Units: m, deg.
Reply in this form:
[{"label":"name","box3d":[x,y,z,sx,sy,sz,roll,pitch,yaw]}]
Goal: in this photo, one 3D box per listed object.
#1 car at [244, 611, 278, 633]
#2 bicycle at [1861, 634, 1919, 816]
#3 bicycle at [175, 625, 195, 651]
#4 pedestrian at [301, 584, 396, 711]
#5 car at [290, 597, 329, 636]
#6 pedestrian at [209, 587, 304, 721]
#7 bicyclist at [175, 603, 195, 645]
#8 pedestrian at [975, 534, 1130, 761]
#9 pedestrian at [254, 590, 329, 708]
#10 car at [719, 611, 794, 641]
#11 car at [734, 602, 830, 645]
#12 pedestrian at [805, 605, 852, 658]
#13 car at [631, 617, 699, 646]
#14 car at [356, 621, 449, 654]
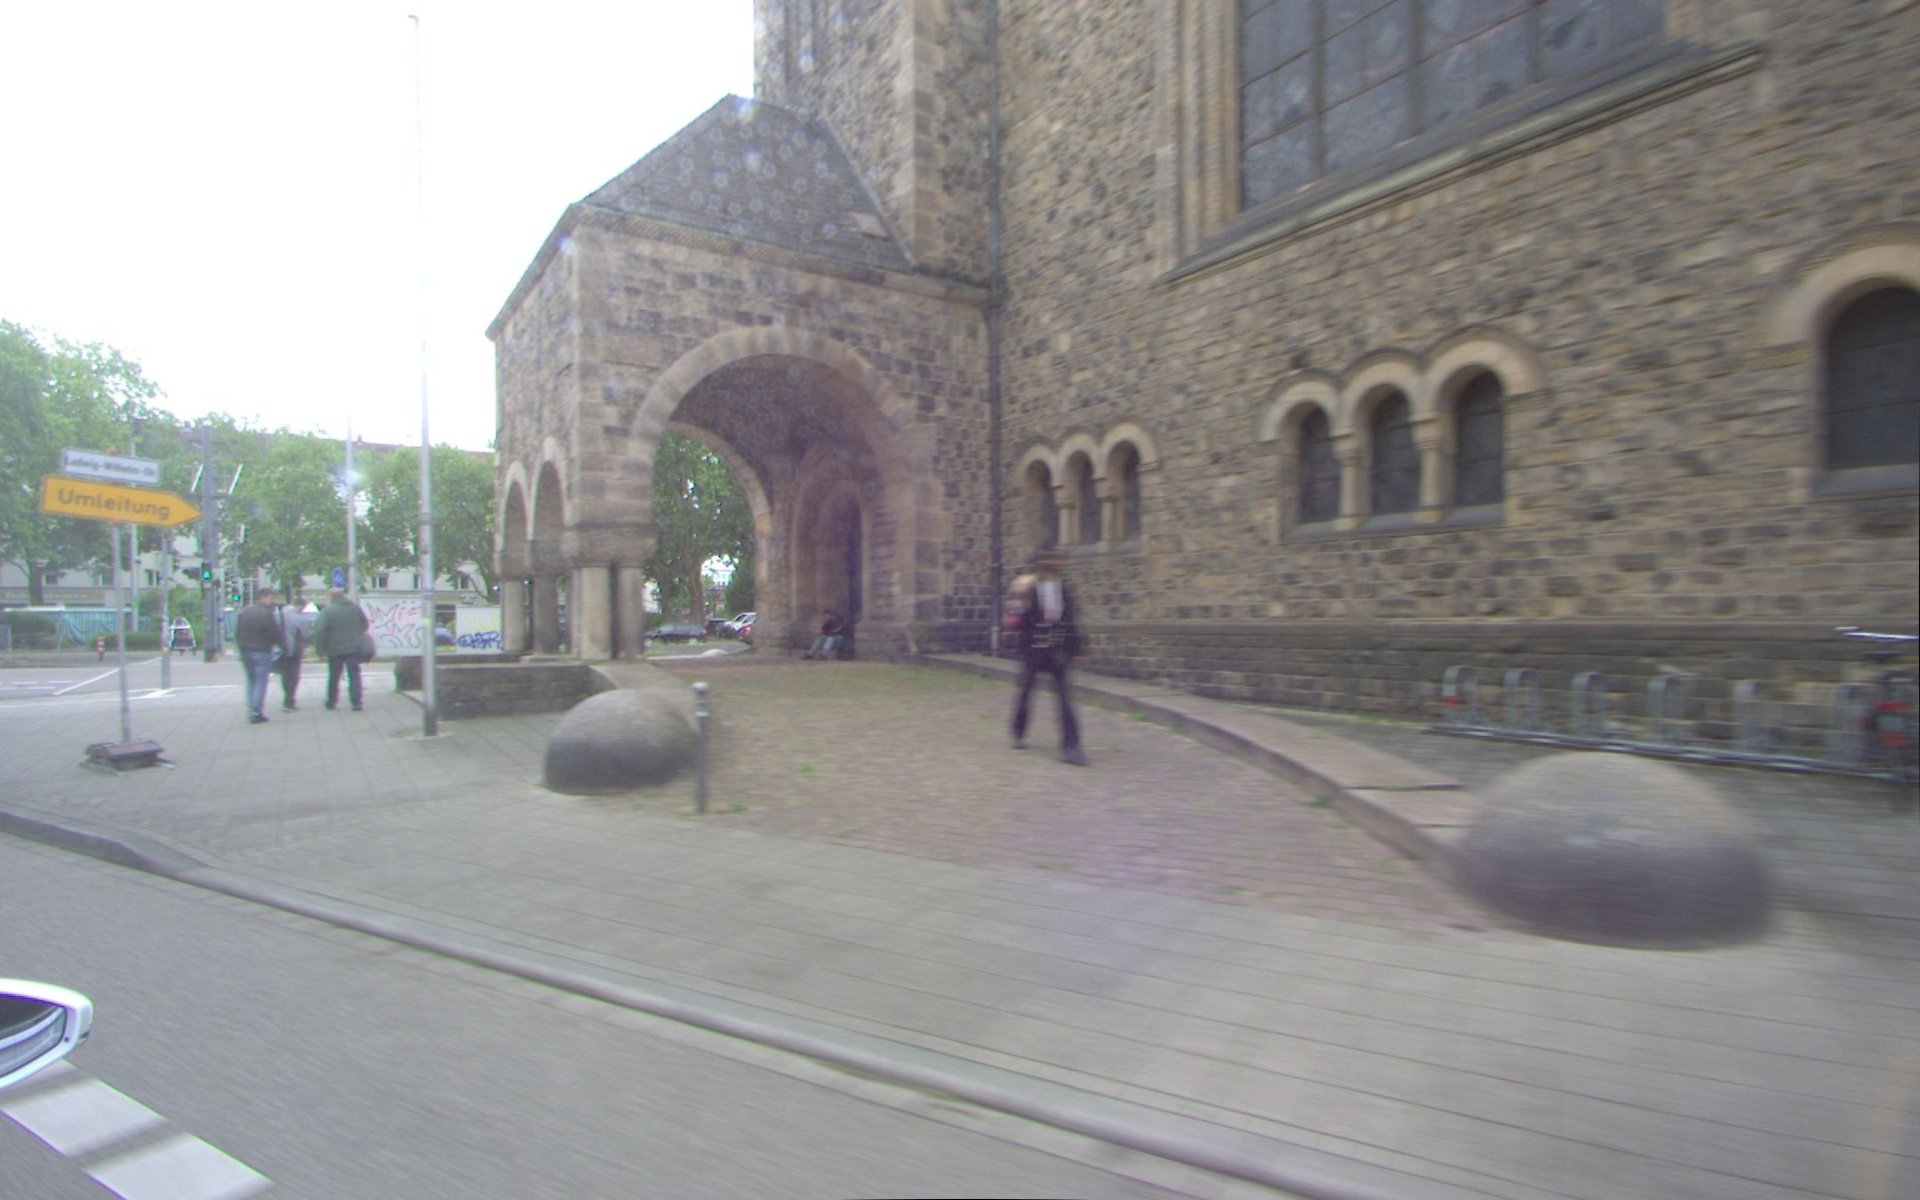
[{"label":"car","box3d":[-48.335,1.512,69.268,1.647,1.535,3.916,0,-1,-31]},{"label":"bicycle","box3d":[6.242,0.767,6.504,1.366,1.074,0.309,0,0,-36]},{"label":"bicycle","box3d":[-31.817,1.553,41.103,0.546,1.008,2.047,0,-1,-35]},{"label":"pedestrian","box3d":[-8.984,0.667,14.719,0.955,1.782,0.802,0,2,32]},{"label":"car","box3d":[-47.488,1.207,73.185,2.211,2.673,5.417,0,-1,-31]},{"label":"pedestrian","box3d":[-9.405,0.697,13.389,0.955,1.709,0.672,0,2,32]},{"label":"bicyclist","box3d":[-31.806,0.987,41.105,0.608,1.675,0.749,0,0,-36]},{"label":"pedestrian","box3d":[0.786,0.366,8.737,0.806,1.834,1.011,0,4,-37]},{"label":"pedestrian","box3d":[-10.050,0.712,15.060,0.957,1.696,0.630,0,2,39]},{"label":"car","box3d":[-14.789,1.870,72.827,5.022,2.123,1.979,0,-1,-35]},{"label":"car","box3d":[-10.910,1.428,61.573,5.539,2.571,1.979,0,-1,-35]},{"label":"pedestrian","box3d":[-2.452,0.586,18.682,0.665,0.964,0.611,0,0,-36]},{"label":"car","box3d":[-16.971,1.812,57.615,3.423,1.581,1.676,0,-1,-35]},{"label":"car","box3d":[-27.857,1.843,50.094,3.938,1.581,1.676,0,-1,-35]}]
